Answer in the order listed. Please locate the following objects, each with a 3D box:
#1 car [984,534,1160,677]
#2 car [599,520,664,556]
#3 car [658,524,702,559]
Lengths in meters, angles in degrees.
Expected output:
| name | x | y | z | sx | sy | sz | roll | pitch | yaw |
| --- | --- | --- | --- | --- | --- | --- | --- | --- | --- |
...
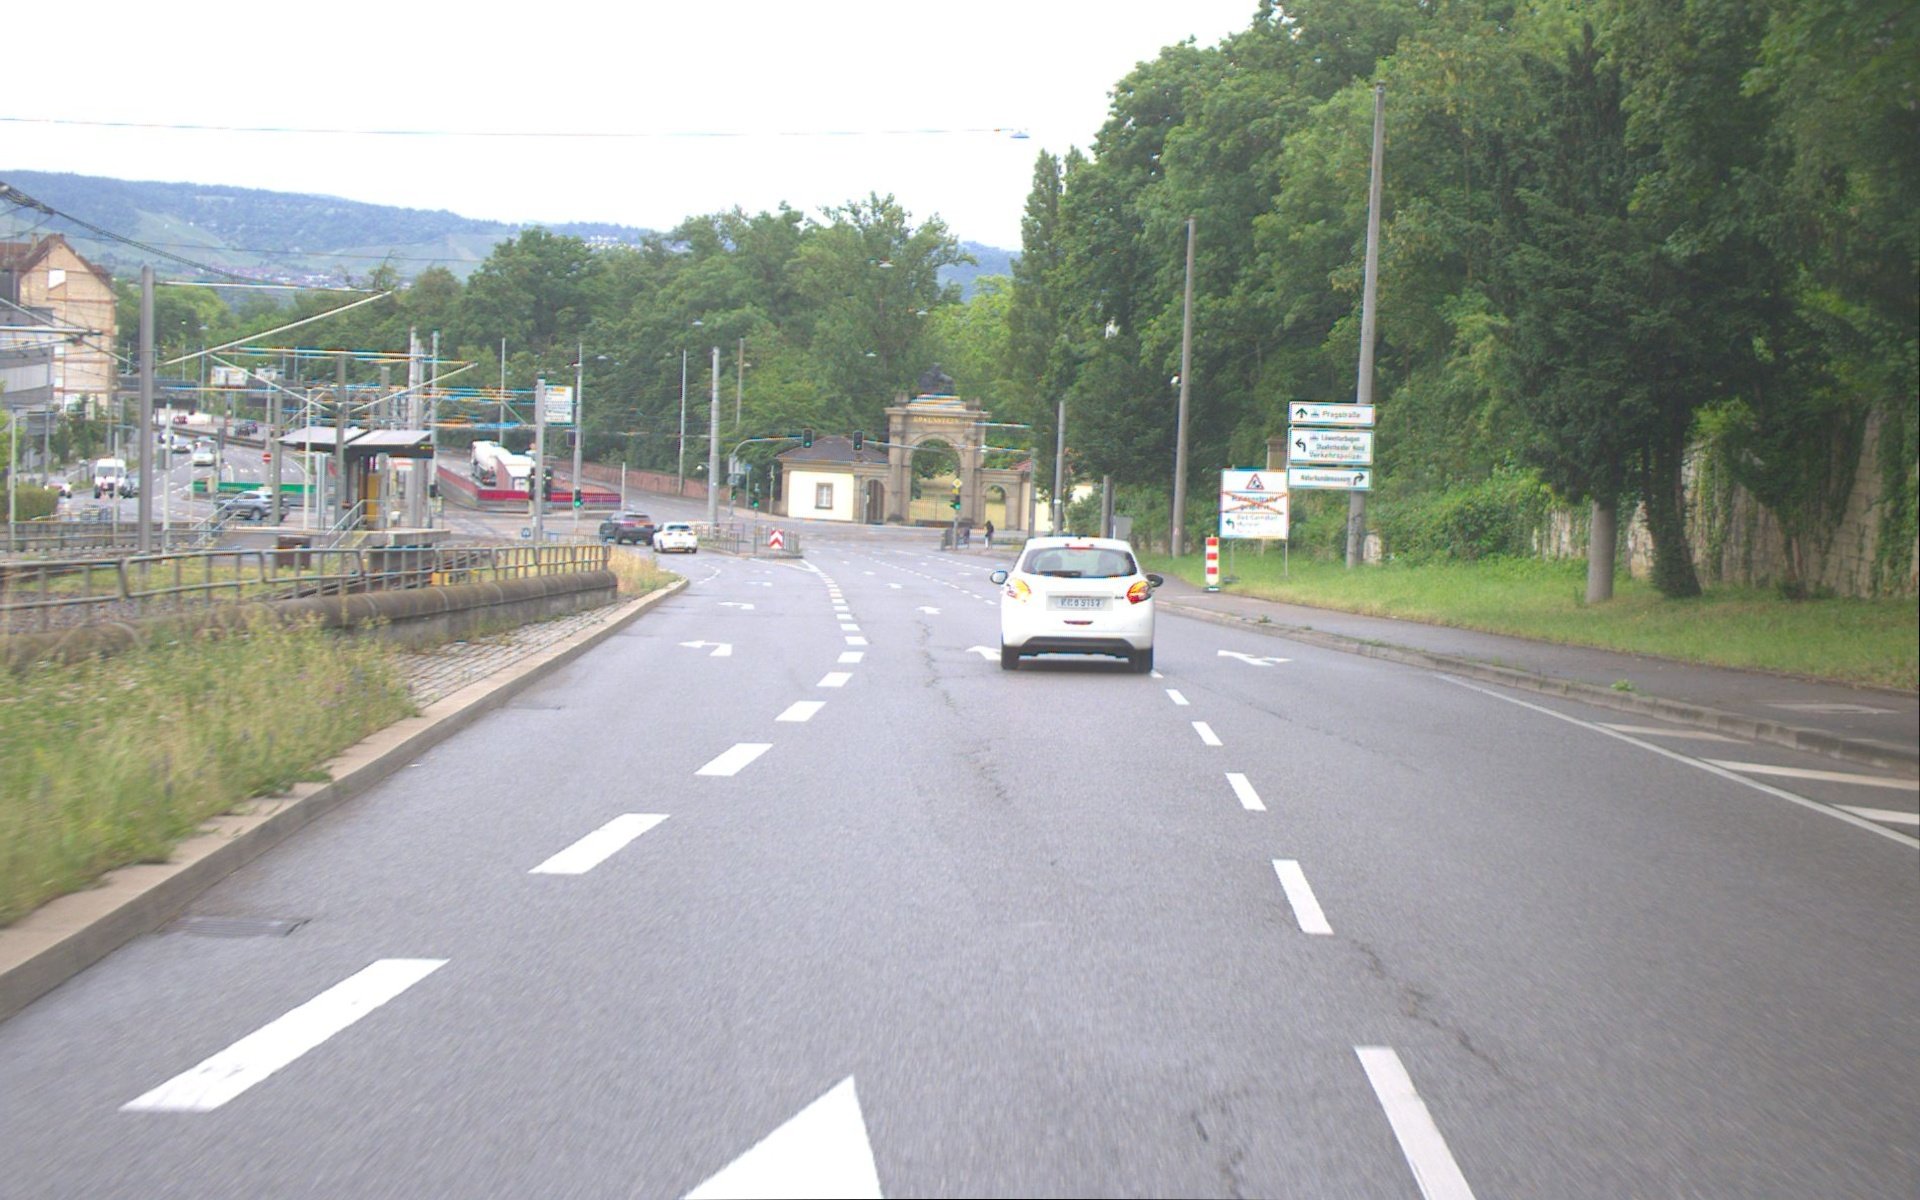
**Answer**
| name | x | y | z | sx | sy | sz | roll | pitch | yaw |
| --- | --- | --- | --- | --- | --- | --- | --- | --- | --- |
| car | 1.268 | 0.021 | 38.774 | 1.868 | 1.505 | 3.899 | 0 | 1 | 2 |
| car | -16.654 | -3.165 | 174.365 | 1.993 | 1.700 | 4.001 | 1 | 2 | -25 |
| car | -13.320 | -2.784 | 163.704 | 1.822 | 1.600 | 4.001 | 0 | 2 | -1 |
